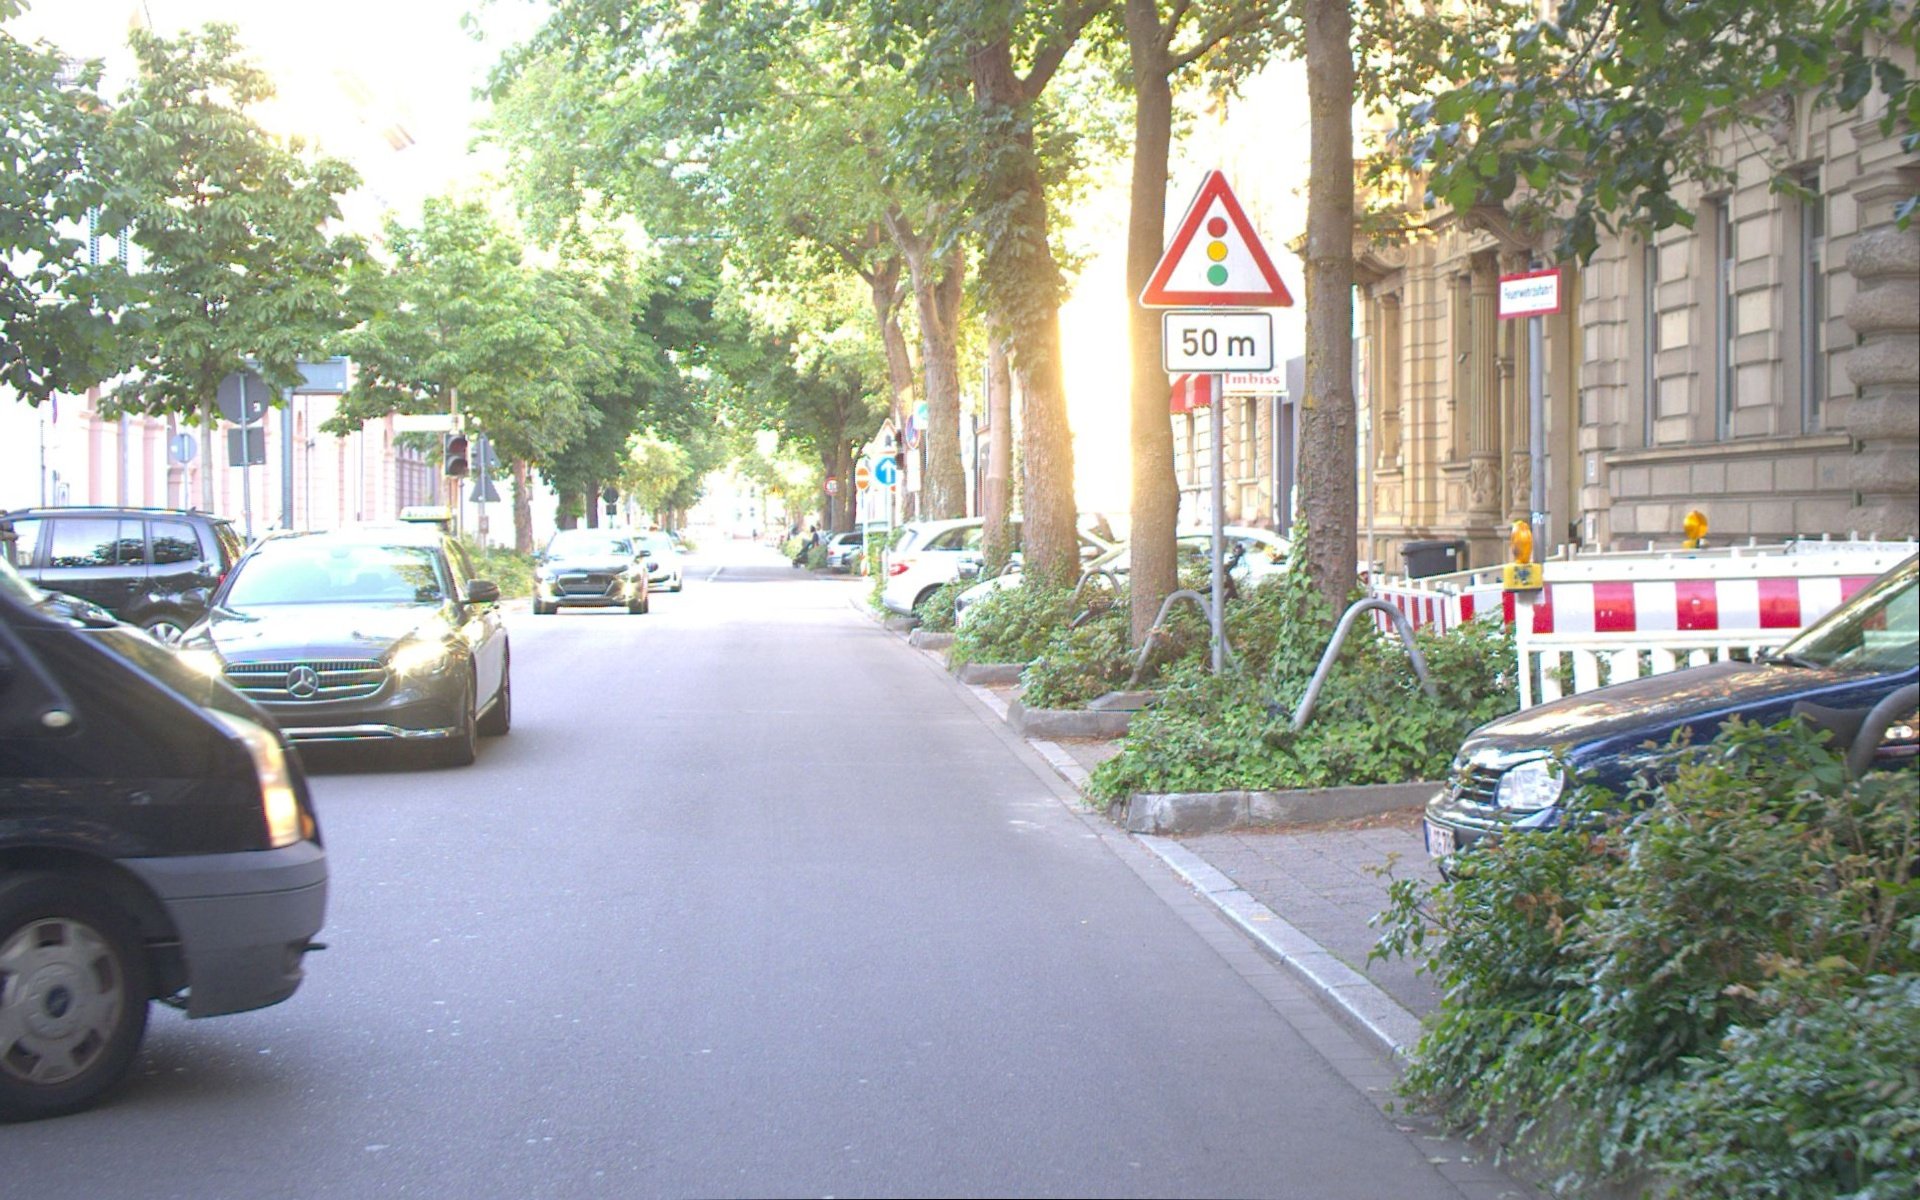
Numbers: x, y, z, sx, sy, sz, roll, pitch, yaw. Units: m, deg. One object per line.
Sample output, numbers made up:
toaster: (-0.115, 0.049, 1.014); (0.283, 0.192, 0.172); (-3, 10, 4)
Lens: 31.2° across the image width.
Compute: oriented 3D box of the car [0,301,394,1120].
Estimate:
car: (-4.170, 0.272, 8.644); (4.989, 1.983, 2.190); (-1, 2, -25)

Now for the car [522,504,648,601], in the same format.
car: (-6.281, -0.817, 57.890); (1.876, 1.543, 4.276); (-1, 1, -3)

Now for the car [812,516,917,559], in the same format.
car: (-3.729, -2.434, 133.994); (4.014, 1.617, 1.781); (-1, 1, -4)

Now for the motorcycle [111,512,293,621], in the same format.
motorcycle: (-10.064, -0.444, 45.653); (2.150, 1.414, 0.967); (0, 1, 18)

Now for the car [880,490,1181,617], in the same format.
car: (1.087, -0.755, 54.389); (4.539, 1.908, 1.951); (-1, 1, -5)

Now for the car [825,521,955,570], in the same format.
car: (-2.311, -1.807, 112.877); (4.192, 1.475, 1.852); (-2, 1, -3)

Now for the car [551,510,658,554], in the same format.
car: (-17.154, -3.292, 166.095); (5.063, 2.076, 2.263); (-1, 1, -3)

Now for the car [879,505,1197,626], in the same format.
car: (1.039, -0.485, 46.767); (4.224, 1.555, 1.971); (-1, 2, 0)

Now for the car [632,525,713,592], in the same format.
car: (-6.945, -1.034, 83.148); (1.876, 1.543, 4.276); (-1, 1, -4)

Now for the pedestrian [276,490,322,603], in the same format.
pedestrian: (-10.924, -0.887, 56.808); (0.554, 1.844, 0.611); (0, 1, 11)

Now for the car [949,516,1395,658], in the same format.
car: (2.195, -0.160, 36.536); (4.583, 1.432, 1.925); (0, 1, -1)

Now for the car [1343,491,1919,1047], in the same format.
car: (3.456, 0.386, 10.575); (4.223, 1.476, 1.855); (-3, 1, -3)

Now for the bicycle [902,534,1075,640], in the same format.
bicycle: (0.346, -0.166, 42.010); (2.019, 1.200, 0.488); (-2, 1, -15)

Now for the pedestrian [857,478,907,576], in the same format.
pedestrian: (-1.746, -1.622, 76.497); (1.043, 2.139, 1.064); (1, 0, -3)

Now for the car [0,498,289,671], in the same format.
car: (-8.883, -0.186, 34.108); (4.092, 1.626, 1.936); (1, 1, -2)

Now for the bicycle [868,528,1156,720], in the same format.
bicycle: (0.377, 0.173, 25.341); (2.046, 1.356, 0.508); (1, 1, -5)

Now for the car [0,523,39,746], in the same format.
car: (-8.423, 0.168, 22.950); (4.029, 1.489, 1.780); (2, 1, 0)

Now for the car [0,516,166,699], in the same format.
car: (-8.862, -0.003, 28.653); (4.074, 1.435, 1.755); (2, 1, -2)

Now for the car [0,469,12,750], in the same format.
car: (-8.276, 0.039, 20.542); (4.665, 1.759, 2.157); (1, 1, -4)

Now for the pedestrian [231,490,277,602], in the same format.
pedestrian: (-11.688, -0.891, 56.928); (0.554, 1.844, 0.611); (0, 1, 12)

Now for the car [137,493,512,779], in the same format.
car: (-3.985, 0.153, 22.275); (1.876, 1.635, 4.647); (-1, 1, -4)
